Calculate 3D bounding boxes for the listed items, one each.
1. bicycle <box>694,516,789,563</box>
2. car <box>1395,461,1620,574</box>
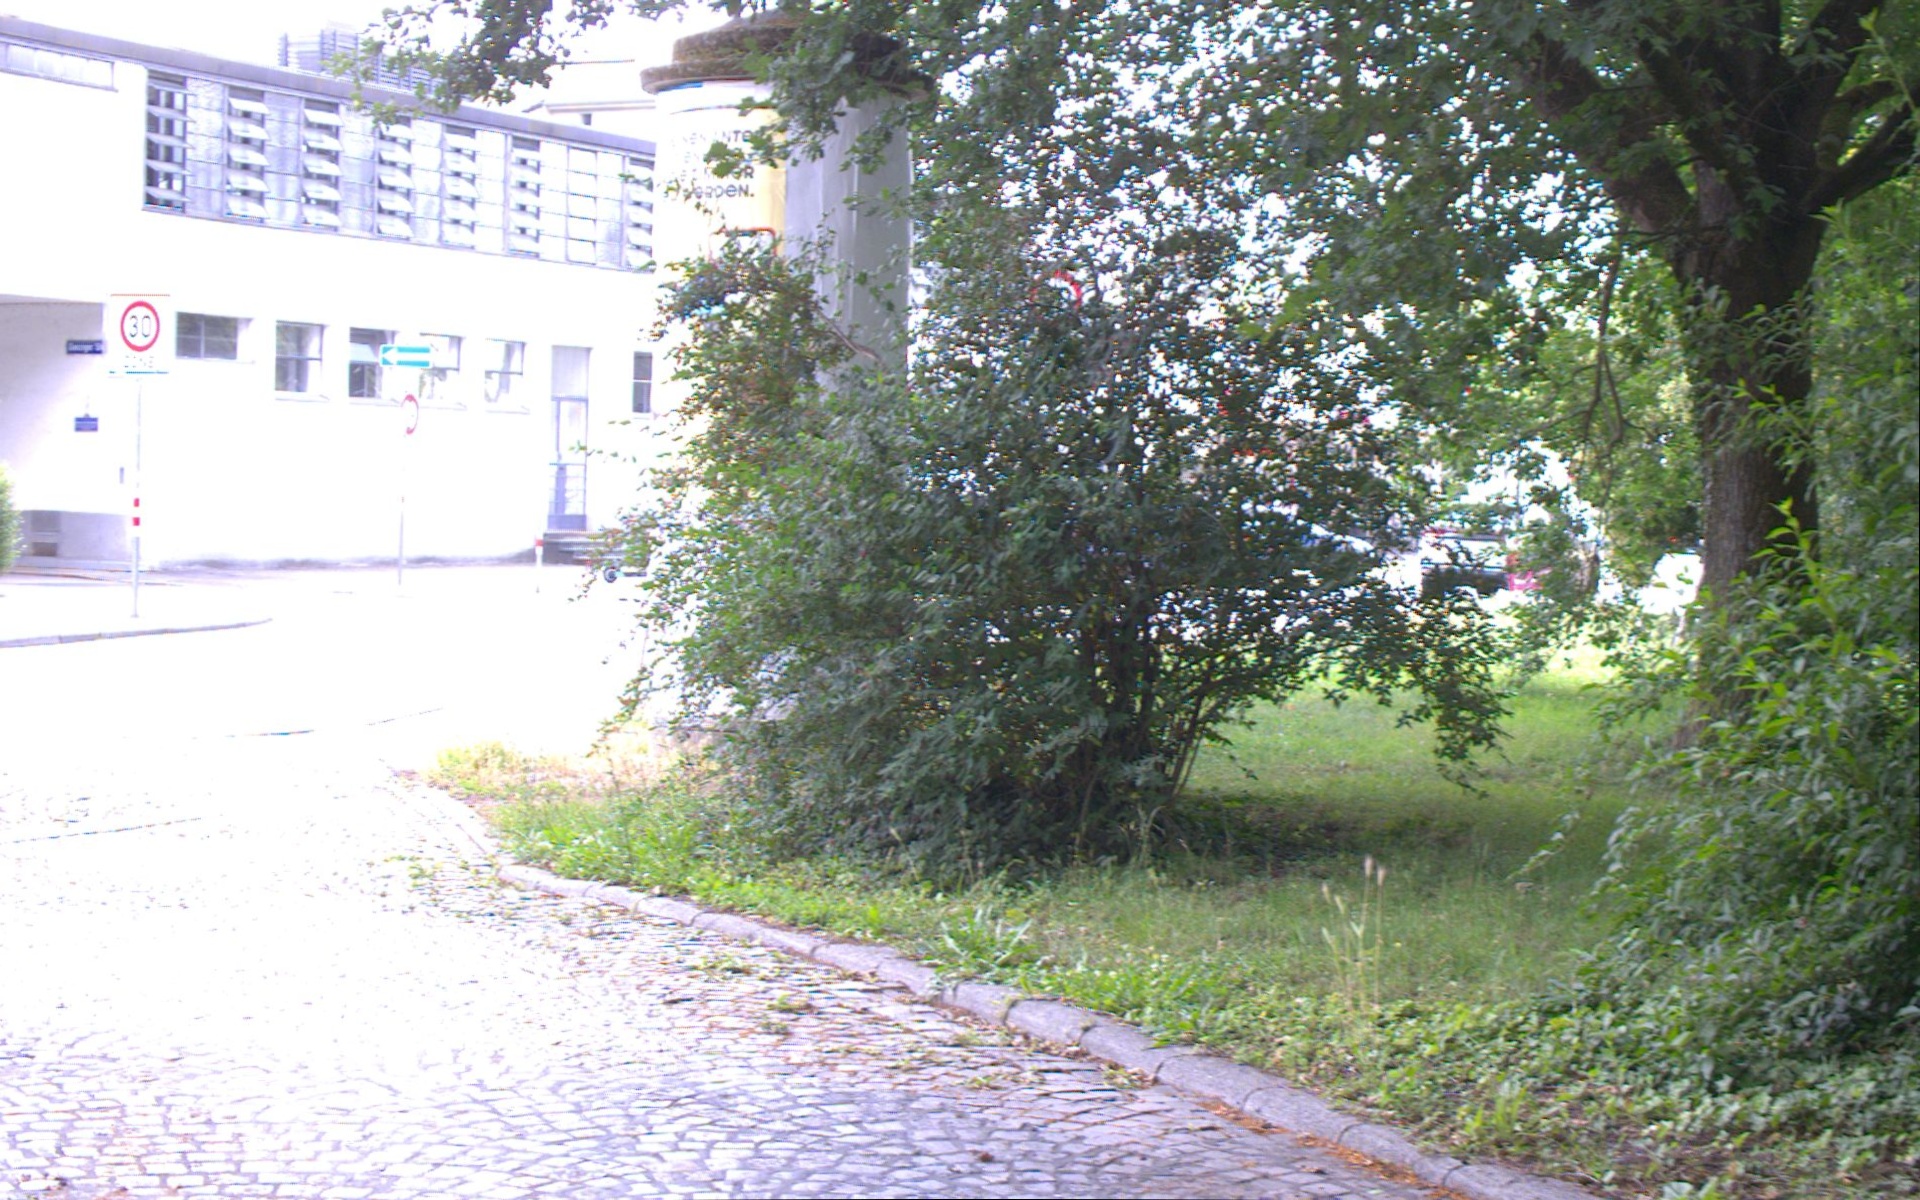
[{"bbox_3d":[-3.963,-1.103,62.504,1.669,0.755,0.570,3,2,0],"label":"bicycle"},{"bbox_3d":[8.905,-1.351,55.611,1.985,1.678,4.566,4,3,30],"label":"car"}]
